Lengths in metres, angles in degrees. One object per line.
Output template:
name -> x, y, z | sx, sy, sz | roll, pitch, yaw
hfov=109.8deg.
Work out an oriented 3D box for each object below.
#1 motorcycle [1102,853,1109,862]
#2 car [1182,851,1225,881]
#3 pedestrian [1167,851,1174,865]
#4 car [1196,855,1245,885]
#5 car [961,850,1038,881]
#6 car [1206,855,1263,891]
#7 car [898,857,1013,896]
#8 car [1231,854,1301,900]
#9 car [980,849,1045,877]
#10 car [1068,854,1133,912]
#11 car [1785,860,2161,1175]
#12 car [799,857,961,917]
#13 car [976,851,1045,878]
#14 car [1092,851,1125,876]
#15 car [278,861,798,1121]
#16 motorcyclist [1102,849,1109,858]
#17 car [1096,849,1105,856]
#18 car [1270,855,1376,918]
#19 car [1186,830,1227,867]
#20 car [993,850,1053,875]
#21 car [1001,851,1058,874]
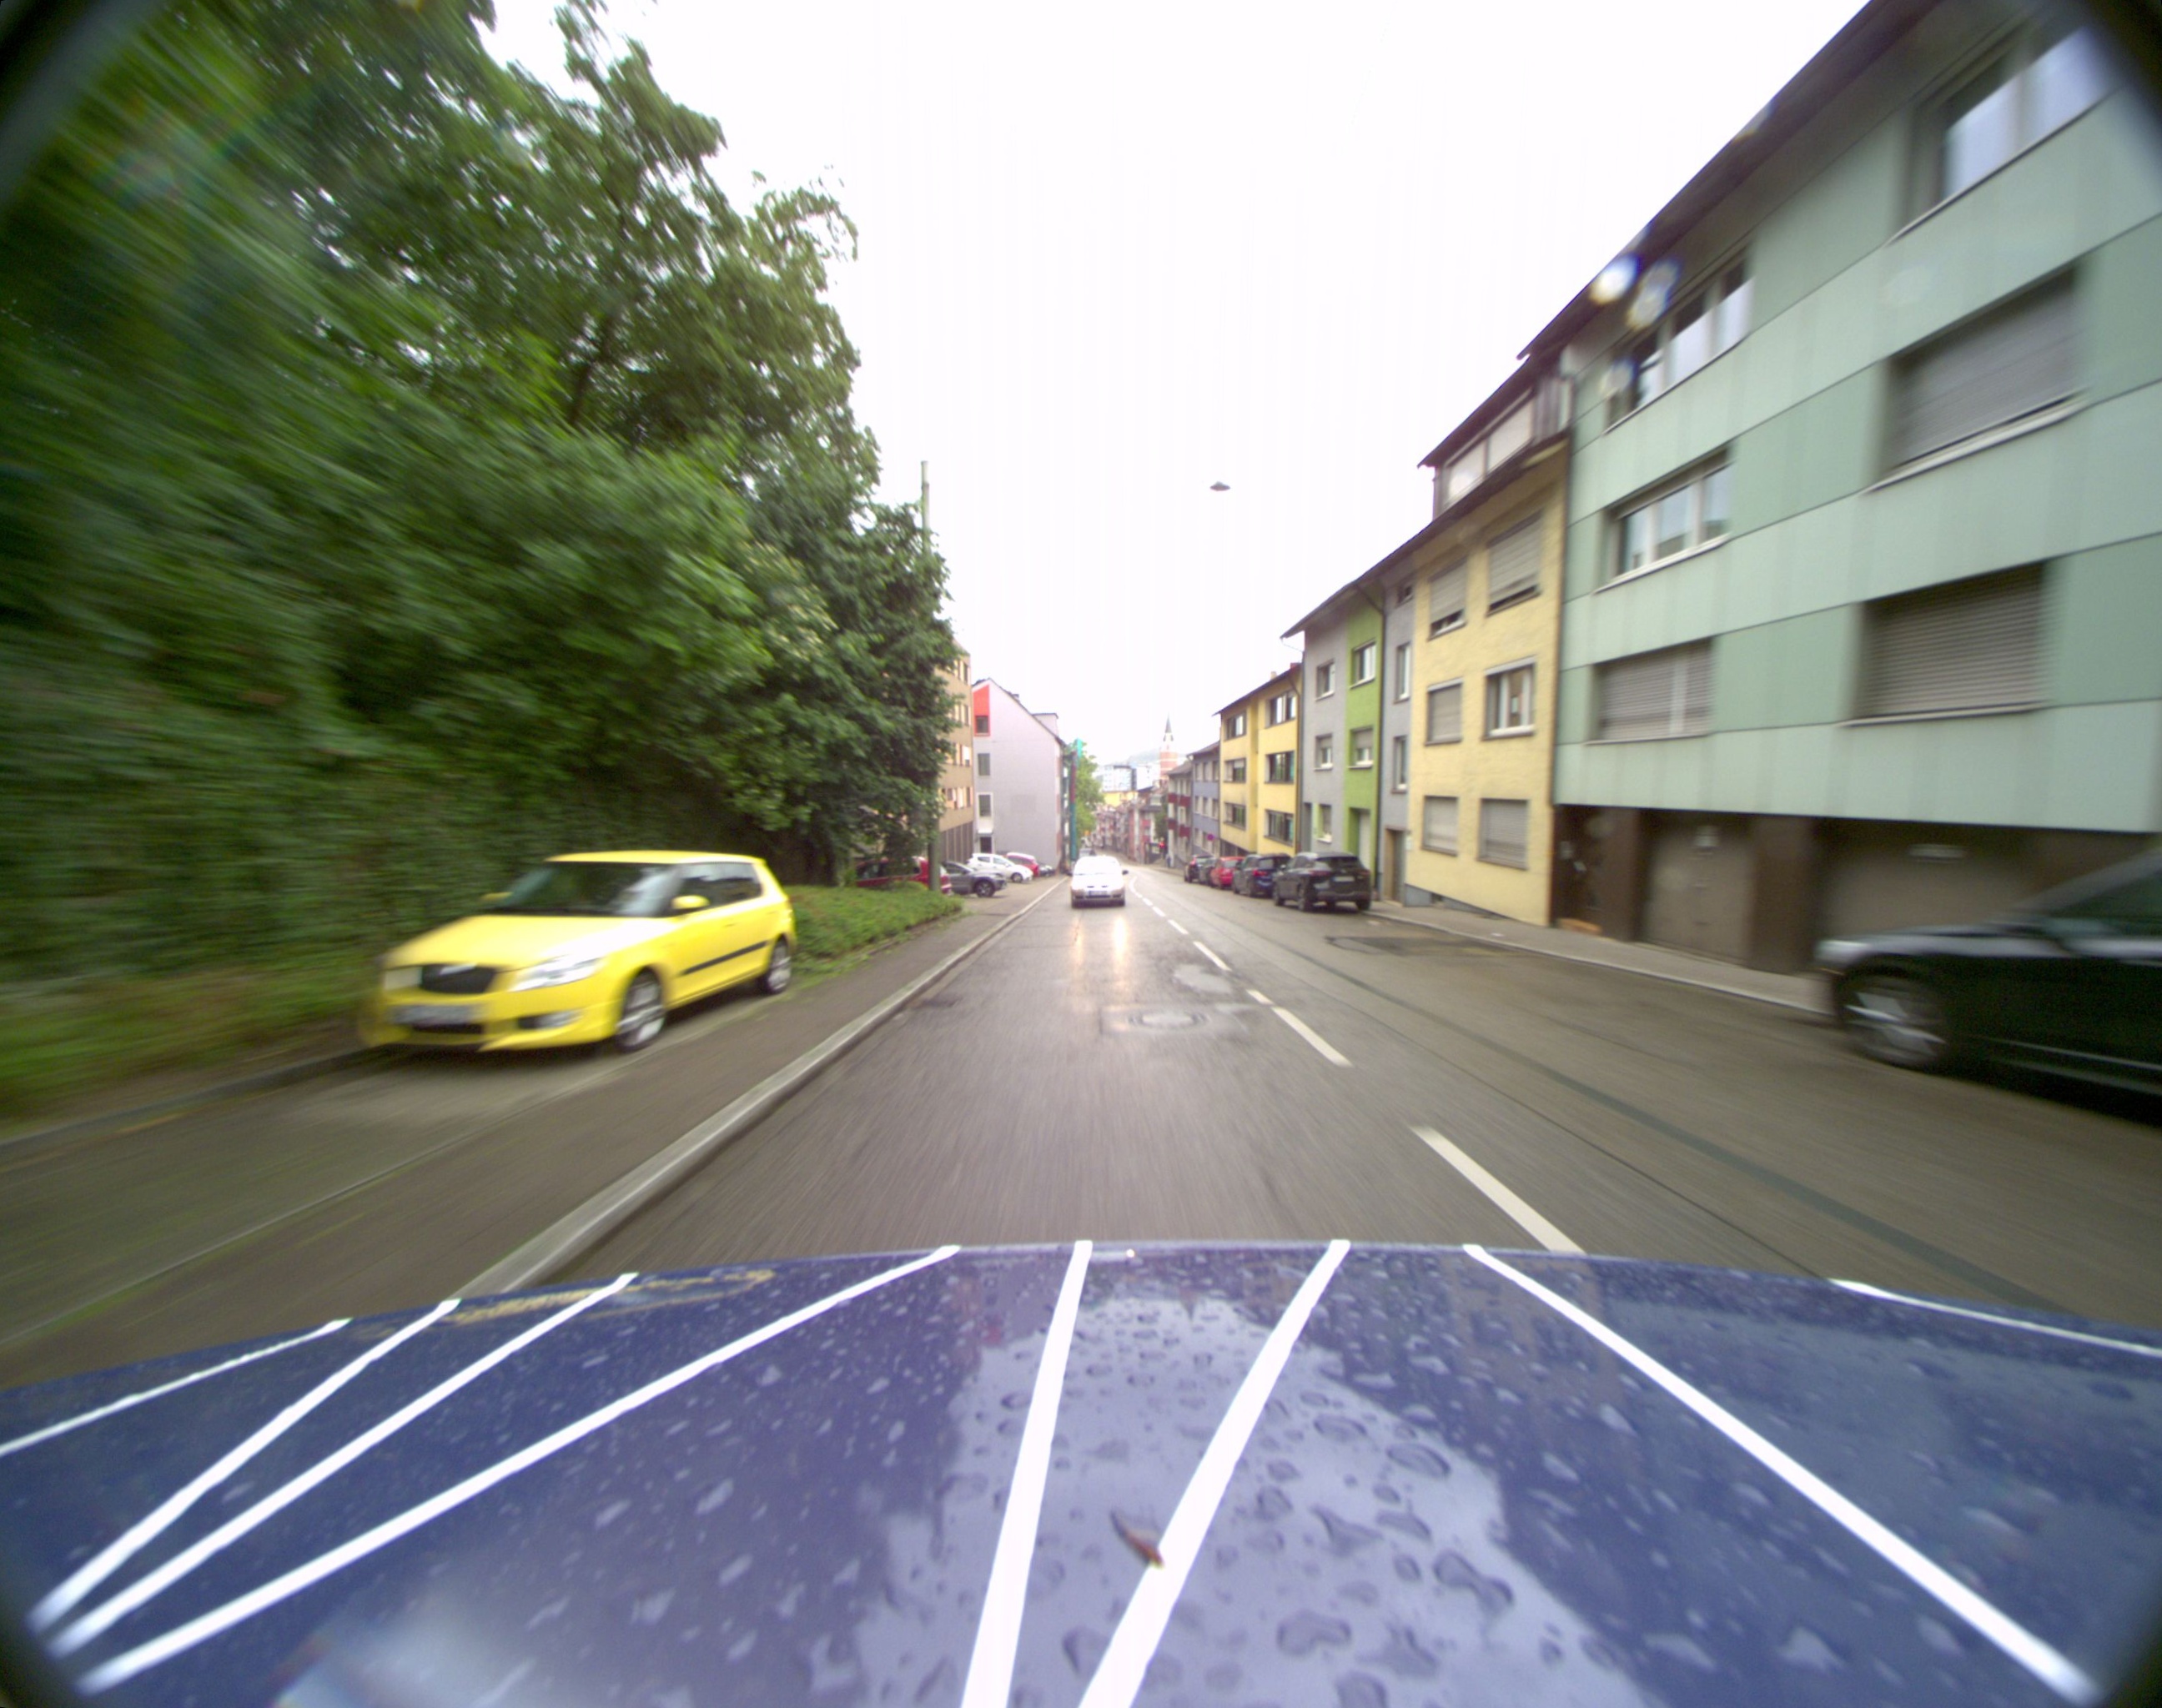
motorcycle -> 3.086, 0.407, 95.747 | 0.779, 1.120, 2.299 | -2, 1, 3
car -> 7.273, 0.679, 45.595 | 1.908, 1.647, 4.328 | 1, 0, 1
pedestrian -> 9.930, 0.431, 84.289 | 0.805, 1.608, 0.455 | -1, 1, 2
car -> 7.416, 0.820, 40.755 | 1.908, 1.528, 4.000 | 1, 0, 1
car -> -4.730, 0.670, 44.432 | 4.193, 1.565, 1.803 | 3, 1, 0
car -> 7.177, 0.848, 35.910 | 1.908, 1.528, 4.000 | 1, 0, 1
car -> -4.883, 0.860, 29.908 | 4.193, 1.408, 1.803 | 1, 1, 0
car -> 6.933, 0.804, 28.859 | 1.687, 1.584, 4.055 | 1, 0, 1
car -> -4.626, 0.608, 51.749 | 4.193, 1.635, 1.803 | 3, 1, 0
car -> 0.668, 0.825, 23.897 | 1.826, 1.603, 4.189 | -1, 0, 3
car -> 6.322, 0.872, 3.868 | 1.414, 1.605, 4.383 | 1, 0, 1
car -> -5.780, 0.924, 22.195 | 4.193, 1.584, 1.803 | -1, 1, 1
car -> -4.526, 0.658, 49.301 | 4.193, 1.565, 1.803 | 3, 1, 0
car -> 1.798, 0.601, 51.064 | 1.999, 1.603, 3.966 | -1, 0, 0
car -> -3.988, 0.835, 6.500 | 1.567, 1.458, 3.898 | 2, 0, 1
motorcyclist -> 3.061, -0.102, 95.688 | 0.779, 1.120, 0.549 | -2, 1, 3
car -> 4.333, -0.392, 170.186 | 1.999, 1.603, 3.966 | -1, 0, 0
car -> 6.698, 0.837, 21.496 | 1.696, 1.584, 3.999 | 1, 0, 0
car -> 9.278, -0.413, 56.506 | 2.122, 2.536, 5.443 | 2, 0, 0
car -> -4.208, 0.603, 55.545 | 4.193, 1.565, 1.803 | 3, 1, 0
car -> -3.880, 0.619, 57.782 | 4.193, 1.565, 1.803 | 3, 1, 0
